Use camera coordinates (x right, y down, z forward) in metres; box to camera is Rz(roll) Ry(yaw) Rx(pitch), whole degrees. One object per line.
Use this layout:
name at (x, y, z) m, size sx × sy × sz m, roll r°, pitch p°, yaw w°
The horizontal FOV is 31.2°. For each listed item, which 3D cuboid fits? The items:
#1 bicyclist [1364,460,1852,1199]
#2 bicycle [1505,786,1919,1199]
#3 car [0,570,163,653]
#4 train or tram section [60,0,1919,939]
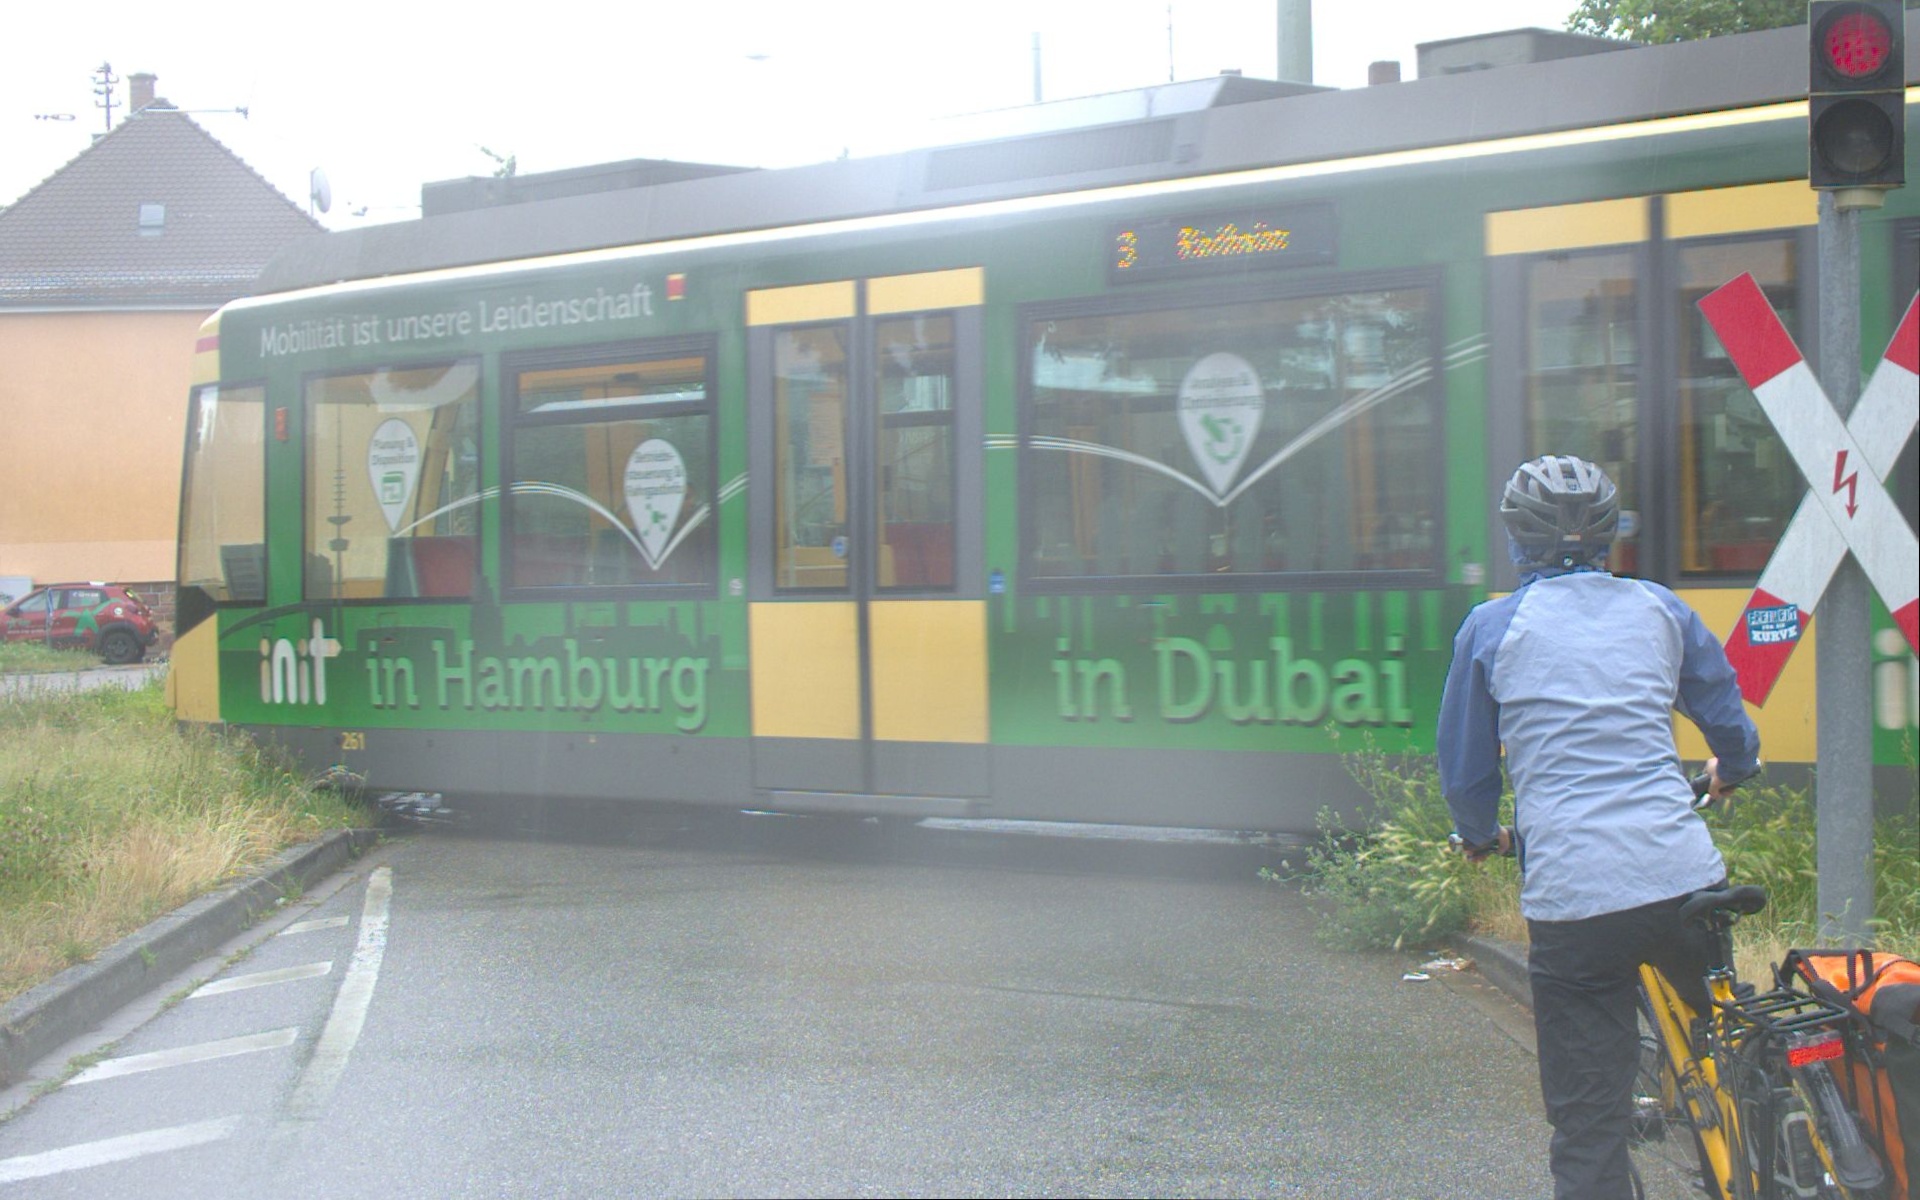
bicyclist at (1.121, 0.580, 6.117) m, size 0.667 × 1.620 × 0.853 m, roll 1°, pitch 0°, yaw -2°
bicycle at (1.352, 0.900, 6.075) m, size 0.446 × 1.001 × 1.728 m, roll -1°, pitch 1°, yaw -2°
car at (-16.659, 0.193, 62.602) m, size 3.986 × 1.451 × 1.834 m, roll 1°, pitch 0°, yaw -6°
train or tram section at (0.497, -0.607, 16.396) m, size 13.123 × 3.541 × 2.763 m, roll -1°, pitch 1°, yaw 44°
